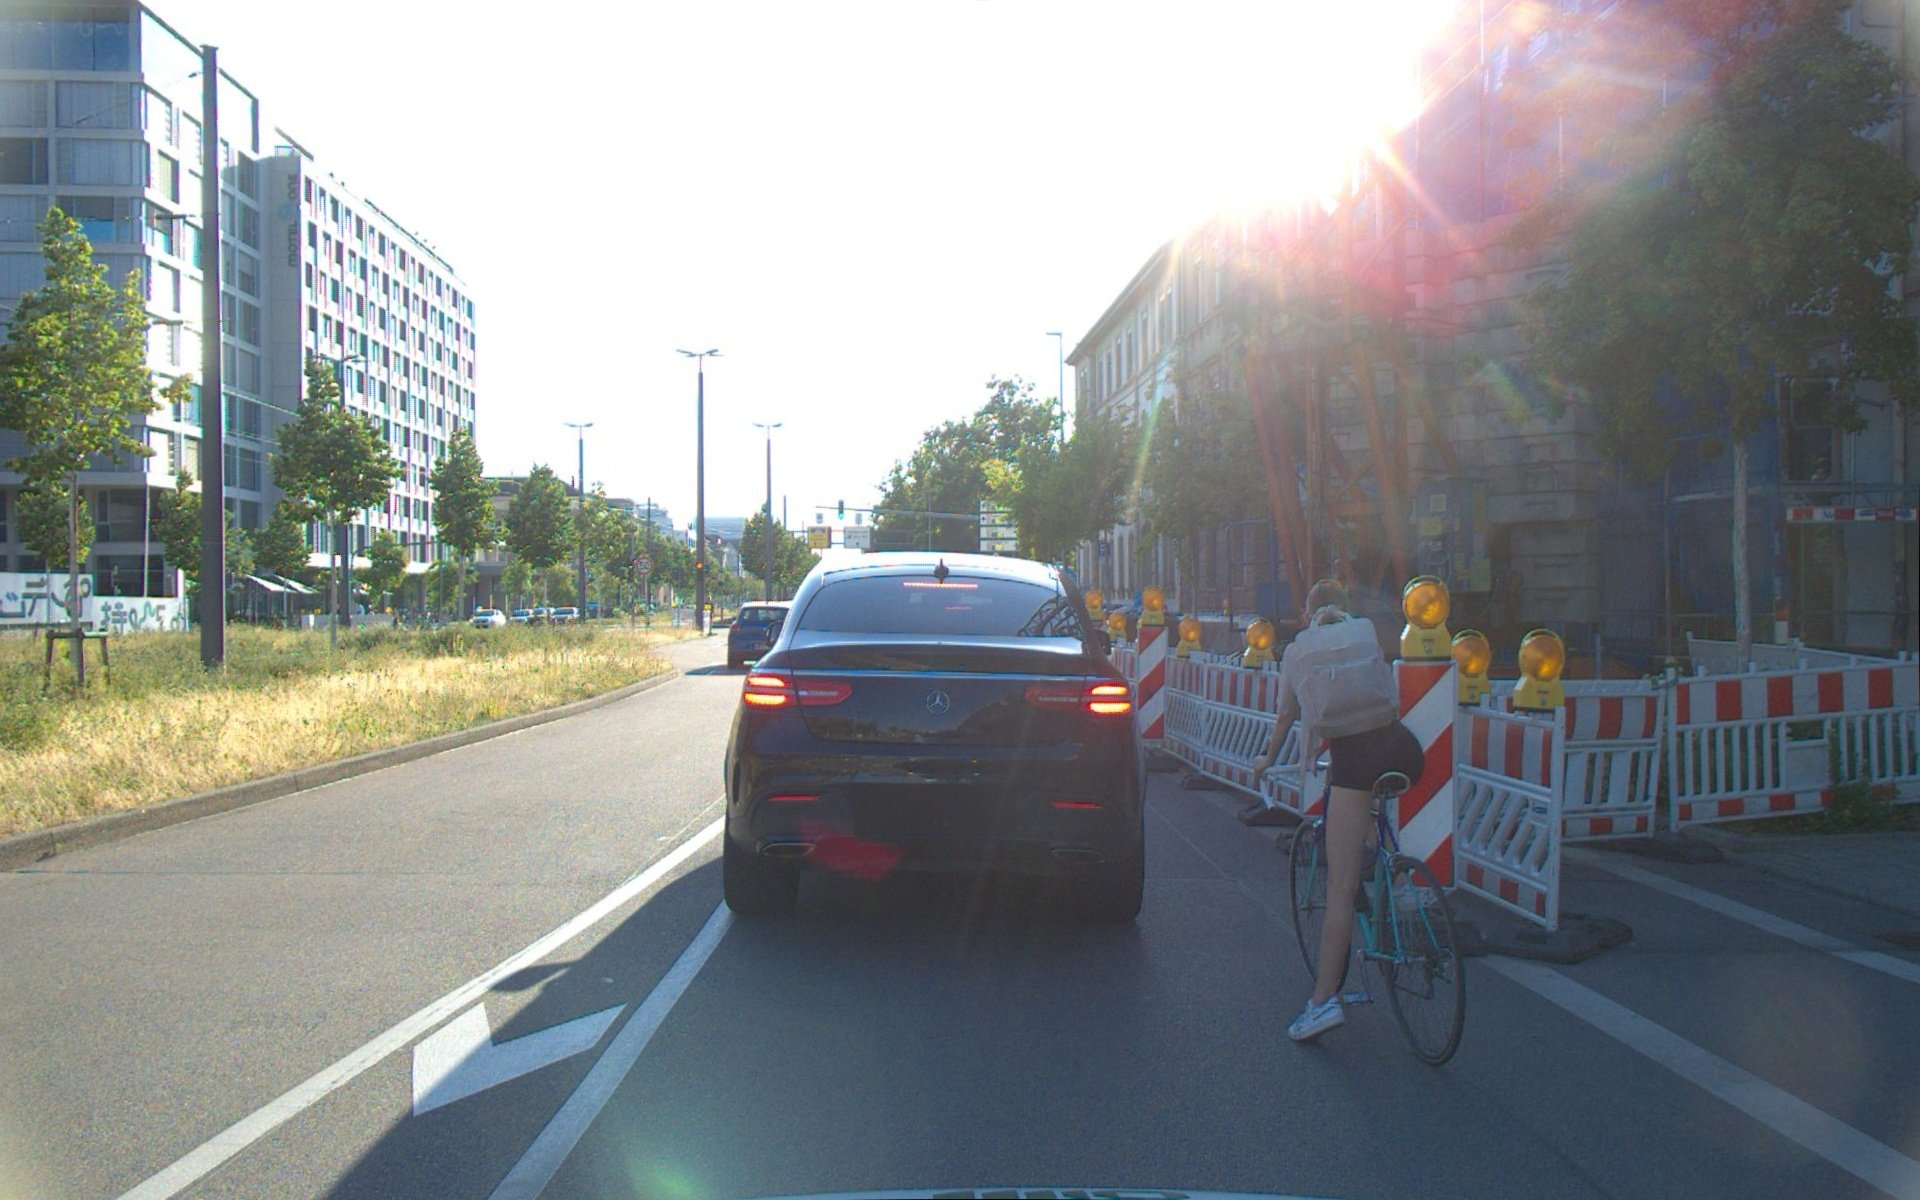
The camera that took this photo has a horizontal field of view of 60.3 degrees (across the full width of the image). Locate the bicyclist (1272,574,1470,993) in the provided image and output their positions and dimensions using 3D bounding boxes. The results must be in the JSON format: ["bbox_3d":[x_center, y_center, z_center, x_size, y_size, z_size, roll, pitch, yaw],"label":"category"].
[{"bbox_3d":[1.458,0.628,5.938,0.512,1.420,0.614,1,-1,-4],"label":"bicyclist"}]

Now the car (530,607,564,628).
[{"bbox_3d":[-29.758,1.232,119.316,1.674,1.467,3.580,1,0,-3],"label":"car"}]

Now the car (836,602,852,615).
[{"bbox_3d":[-12.836,0.920,183.563,1.674,1.467,3.580,1,0,-3],"label":"car"}]

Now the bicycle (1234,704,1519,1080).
[{"bbox_3d":[1.451,0.970,6.045,0.502,1.070,1.724,1,0,-3],"label":"bicycle"}]

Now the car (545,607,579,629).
[{"bbox_3d":[-27.504,1.250,114.400,1.674,1.467,3.580,1,0,-3],"label":"car"}]

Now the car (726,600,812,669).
[{"bbox_3d":[-4.248,0.747,37.210,1.674,1.467,3.580,1,0,-3],"label":"car"}]

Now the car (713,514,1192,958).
[{"bbox_3d":[-0.054,0.572,8.837,1.953,1.803,3.999,1,0,-1],"label":"car"}]

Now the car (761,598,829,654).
[{"bbox_3d":[-4.564,0.701,46.080,1.674,1.467,3.580,1,0,-3],"label":"car"}]

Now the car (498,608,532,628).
[{"bbox_3d":[-33.222,1.327,123.521,1.674,1.467,3.580,1,0,-3],"label":"car"}]

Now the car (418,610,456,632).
[{"bbox_3d":[-36.965,1.491,117.001,1.674,1.467,3.580,1,0,-3],"label":"car"}]

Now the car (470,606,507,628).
[{"bbox_3d":[-32.525,1.165,114.187,1.674,1.467,3.580,1,0,-3],"label":"car"}]
